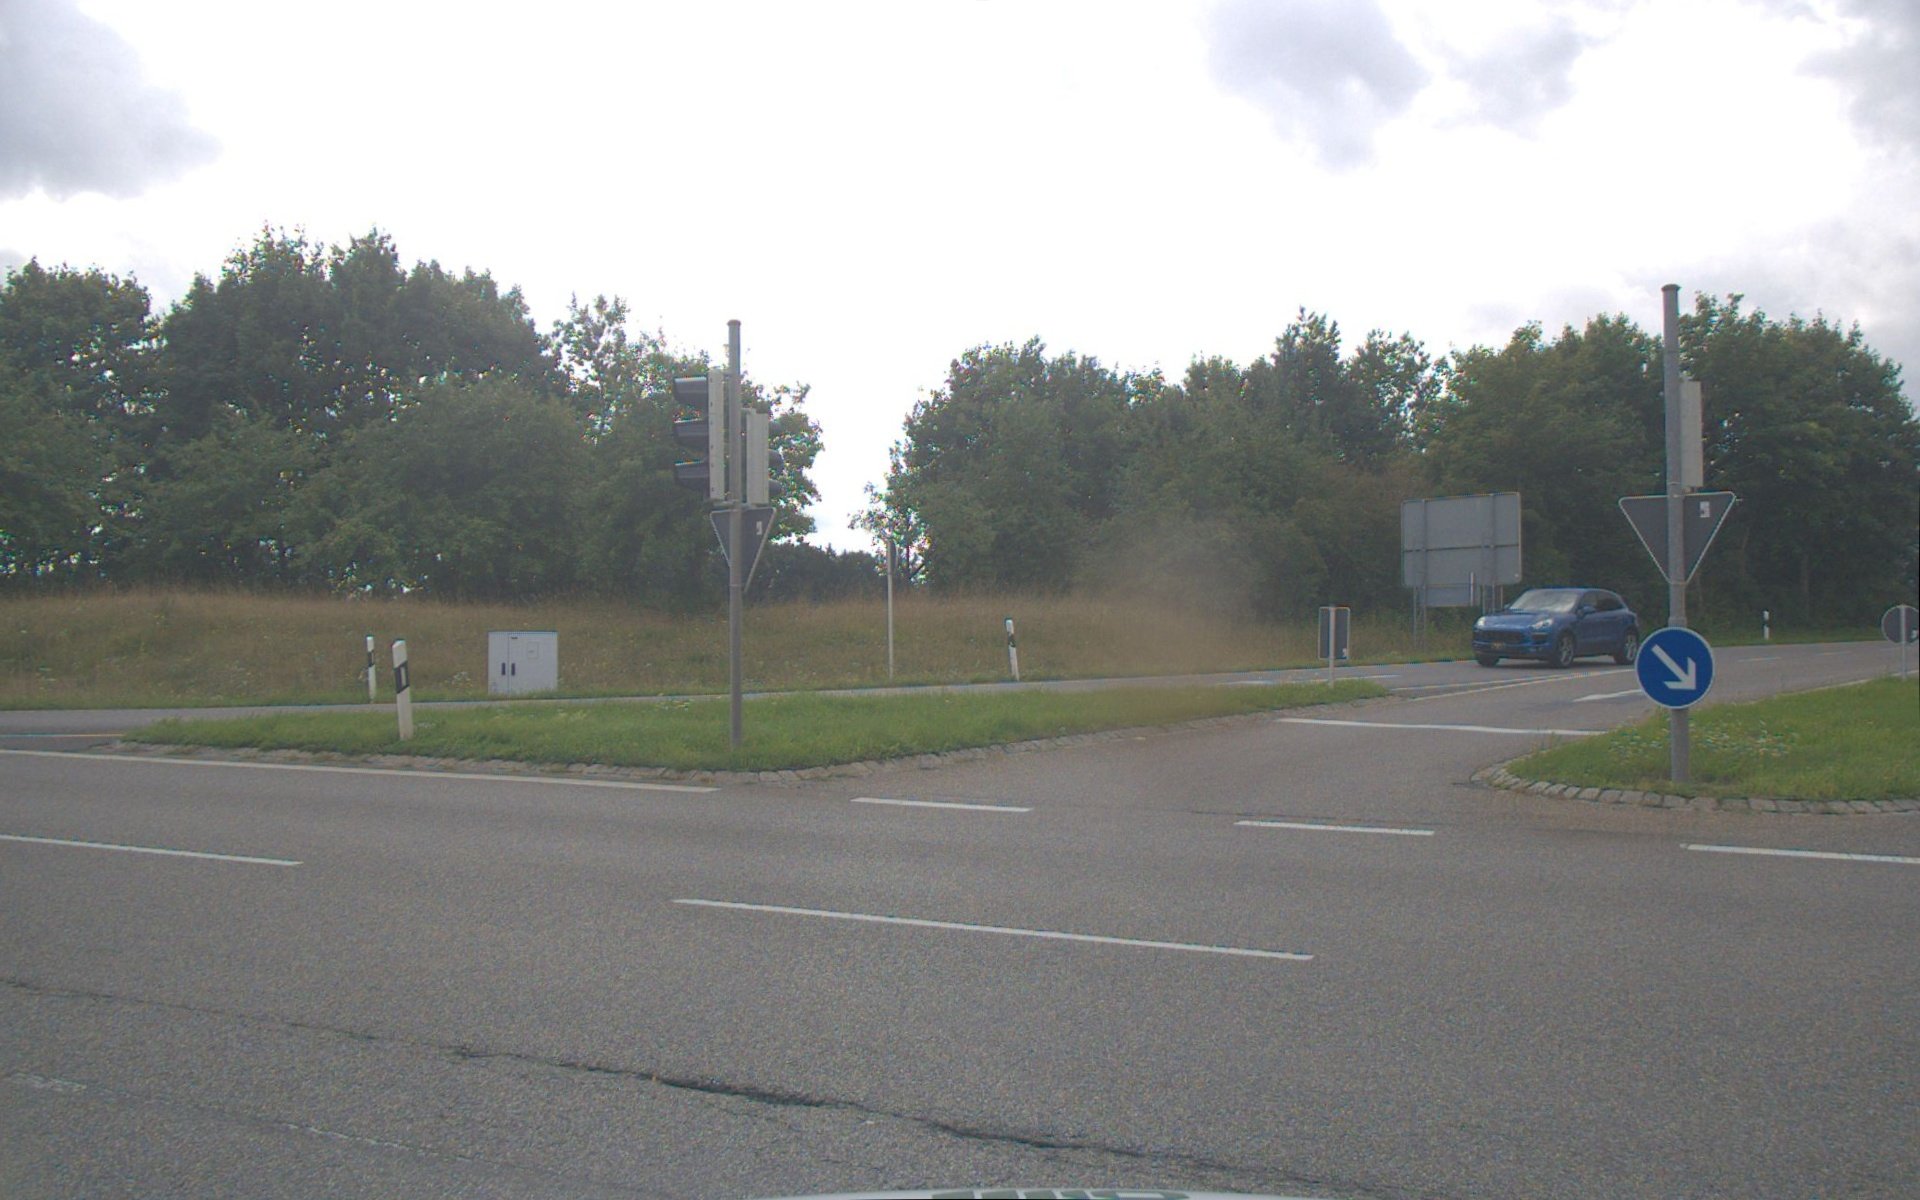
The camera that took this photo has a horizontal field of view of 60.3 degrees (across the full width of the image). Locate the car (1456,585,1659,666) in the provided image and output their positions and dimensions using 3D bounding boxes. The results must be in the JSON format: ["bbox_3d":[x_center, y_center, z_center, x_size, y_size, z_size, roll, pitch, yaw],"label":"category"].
[{"bbox_3d":[12.587,0.517,34.720,4.712,1.598,1.971,0,-1,-41],"label":"car"}]

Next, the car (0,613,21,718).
[{"bbox_3d":[-16.249,0.957,24.174,3.903,1.562,2.001,0,-1,4],"label":"car"}]
